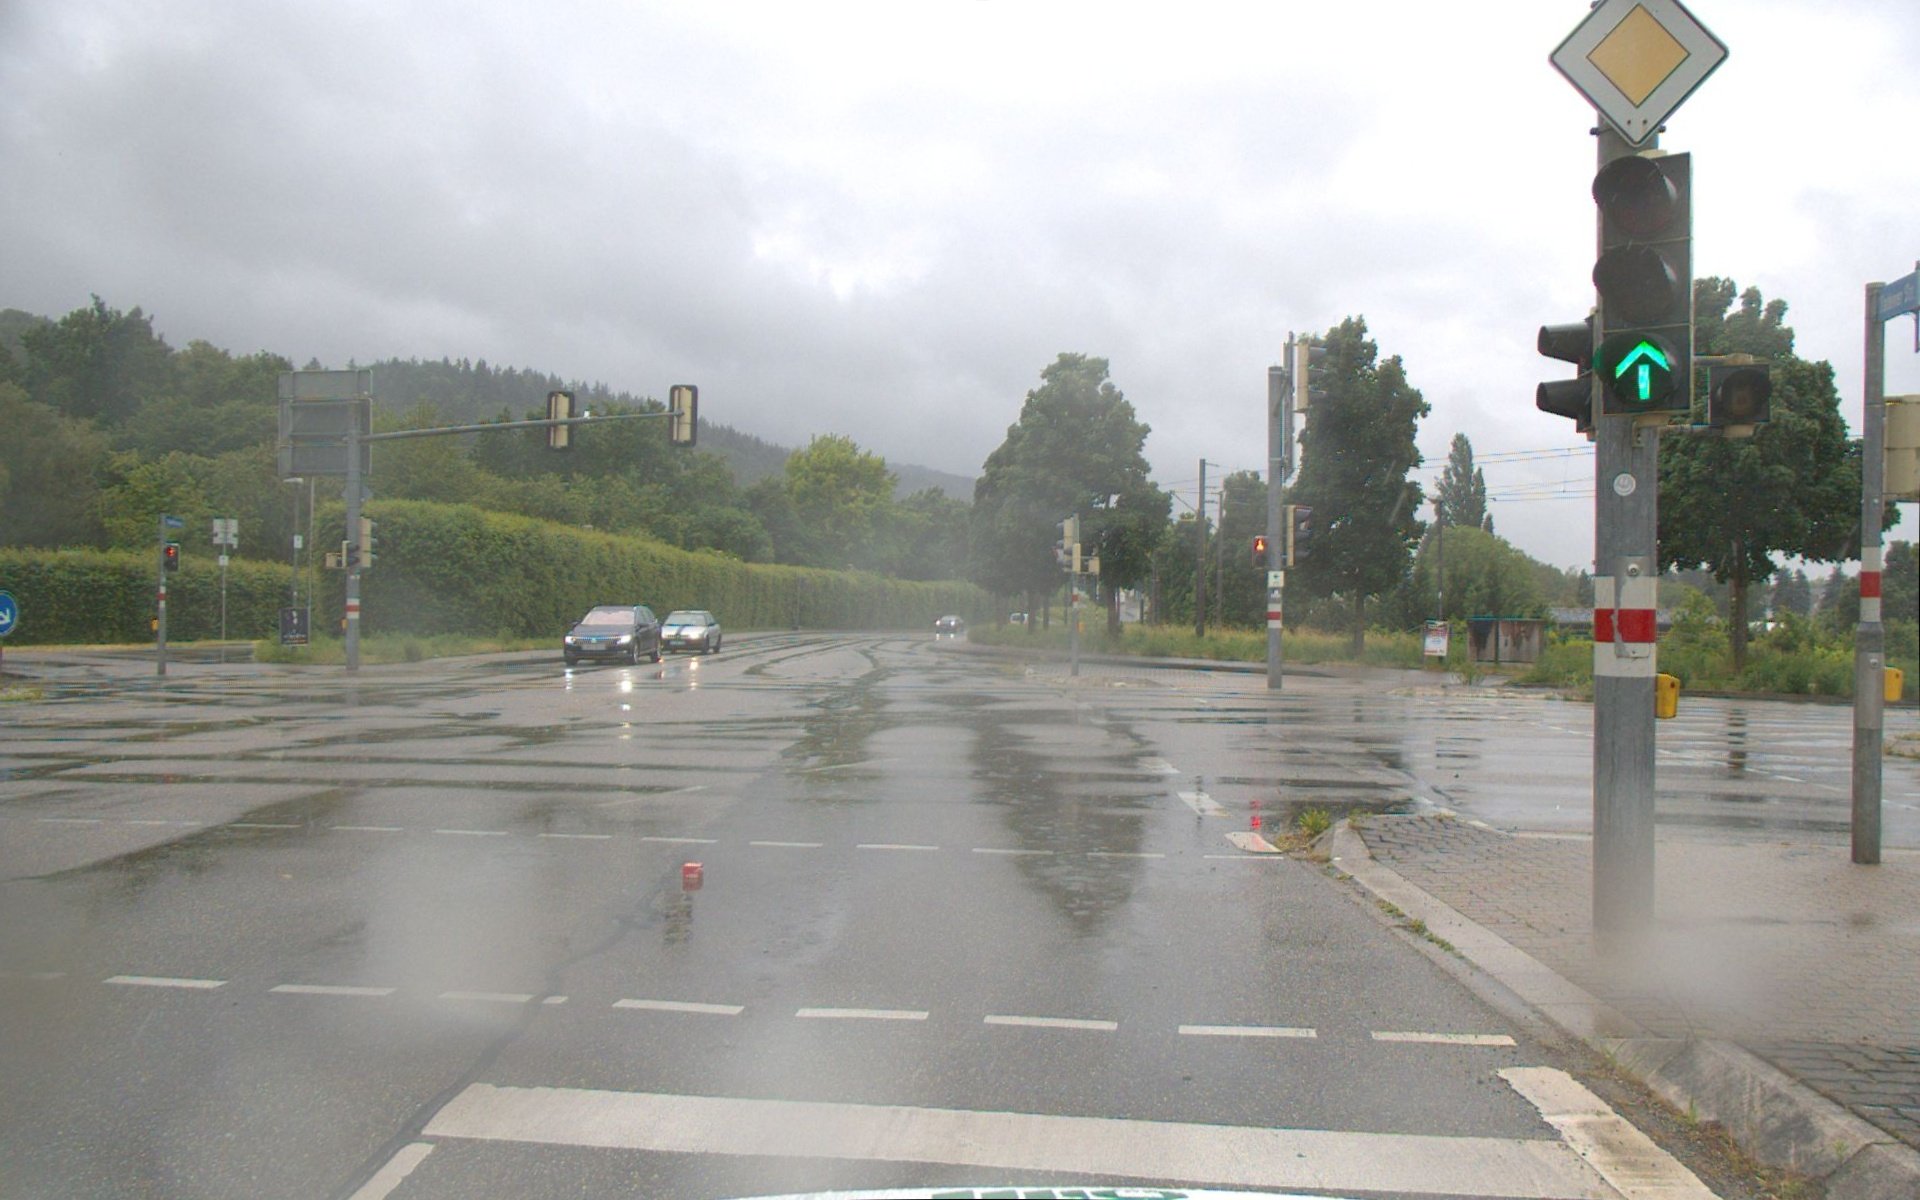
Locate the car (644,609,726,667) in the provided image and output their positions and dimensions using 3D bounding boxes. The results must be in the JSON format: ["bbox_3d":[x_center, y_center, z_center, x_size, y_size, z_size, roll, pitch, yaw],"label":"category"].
[{"bbox_3d":[-8.869,1.191,53.624,1.995,1.738,4.065,1,0,-1],"label":"car"}]

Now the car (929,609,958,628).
[{"bbox_3d":[-1.405,1.599,143.517,1.747,1.531,4.064,0,0,11],"label":"car"}]

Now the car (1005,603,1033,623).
[{"bbox_3d":[5.604,1.220,157.043,1.912,1.937,4.123,0,0,13],"label":"car"}]

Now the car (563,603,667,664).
[{"bbox_3d":[-8.970,0.841,43.326,1.673,1.491,4.453,0,0,2],"label":"car"}]
